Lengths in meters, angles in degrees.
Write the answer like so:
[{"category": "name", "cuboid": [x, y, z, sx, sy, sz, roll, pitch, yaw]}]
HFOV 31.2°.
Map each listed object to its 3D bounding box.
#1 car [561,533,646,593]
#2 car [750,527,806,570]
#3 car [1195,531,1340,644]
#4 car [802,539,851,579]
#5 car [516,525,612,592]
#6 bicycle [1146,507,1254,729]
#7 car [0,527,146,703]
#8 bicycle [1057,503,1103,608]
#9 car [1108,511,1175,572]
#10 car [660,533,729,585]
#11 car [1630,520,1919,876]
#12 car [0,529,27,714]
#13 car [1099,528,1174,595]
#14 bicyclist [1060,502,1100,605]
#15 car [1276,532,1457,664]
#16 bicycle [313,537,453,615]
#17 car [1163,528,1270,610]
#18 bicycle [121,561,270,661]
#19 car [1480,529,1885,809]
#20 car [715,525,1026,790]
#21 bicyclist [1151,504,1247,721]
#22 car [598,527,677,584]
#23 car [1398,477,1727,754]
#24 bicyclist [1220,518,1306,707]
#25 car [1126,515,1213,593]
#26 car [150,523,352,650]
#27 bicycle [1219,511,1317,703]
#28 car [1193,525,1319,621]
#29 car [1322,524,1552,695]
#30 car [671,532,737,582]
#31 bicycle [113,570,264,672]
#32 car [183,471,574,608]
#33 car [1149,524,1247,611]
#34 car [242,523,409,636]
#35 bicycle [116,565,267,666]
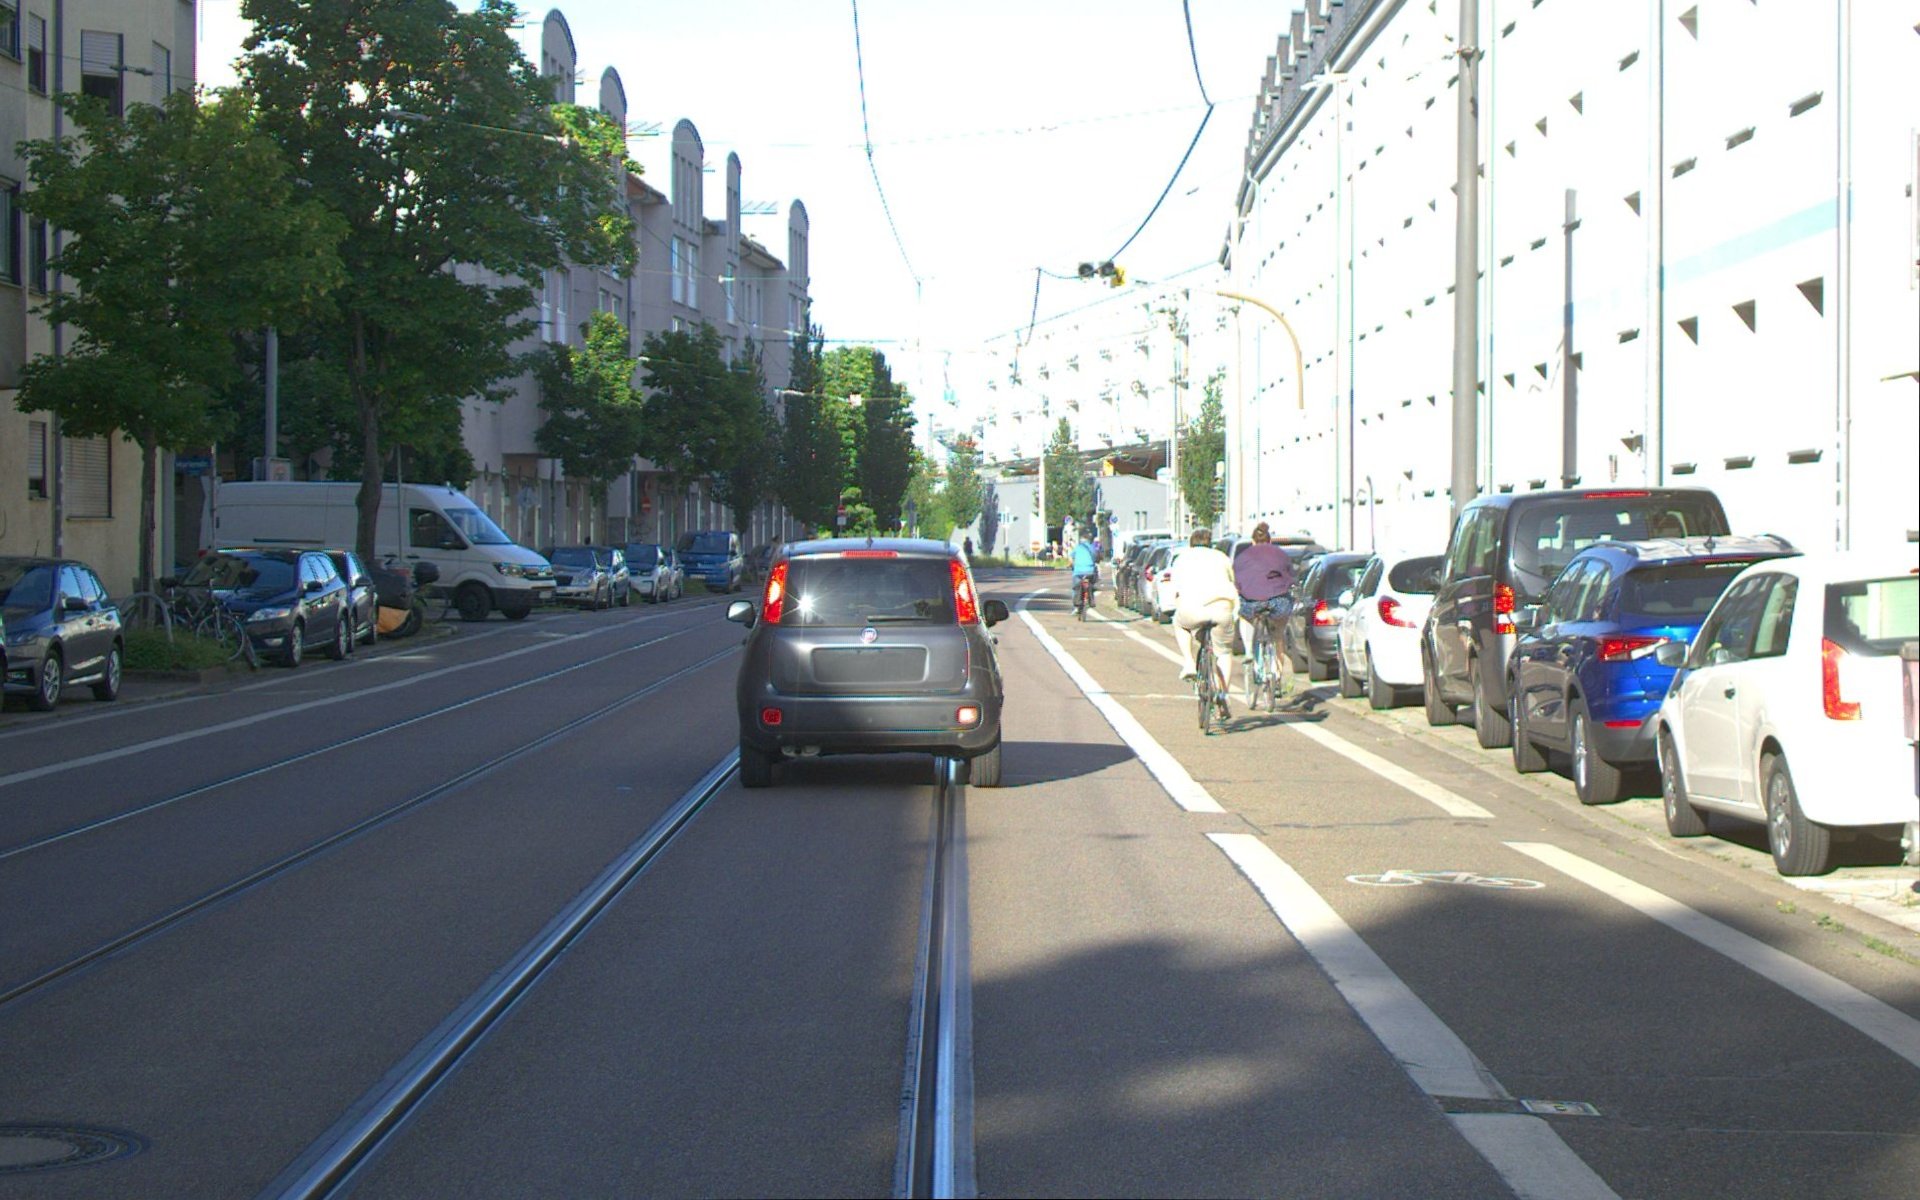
[{"category": "car", "cuboid": [-9.157, -0.966, 88.539, 1.707, 1.491, 3.722, 1, 1, 1]}, {"category": "car", "cuboid": [-6.515, -1.845, 123.276, 1.707, 1.491, 3.722, 1, 1, 1]}, {"category": "car", "cuboid": [4.221, -0.201, 47.637, 1.583, 1.400, 3.377, -3, 1, -1]}, {"category": "car", "cuboid": [-5.224, -1.621, 134.814, 1.707, 1.491, 3.722, 1, 1, 1]}, {"category": "car", "cuboid": [-9.079, -0.972, 79.080, 1.707, 1.491, 3.722, 1, 1, 1]}, {"category": "bicycle", "cuboid": [1.958, 0.120, 28.284, 0.675, 1.741, 2.158, 1, 1, -1]}, {"category": "car", "cuboid": [-9.428, 0.093, 33.937, 1.808, 1.614, 4.064, 1, 1, 0]}, {"category": "bicycle", "cuboid": [2.350, -0.887, 67.567, 0.741, 2.007, 2.812, 1, 1, -1]}, {"category": "car", "cuboid": [4.934, -1.603, 93.912, 1.583, 1.593, 3.377, 1, 1, -1]}, {"category": "car", "cuboid": [-7.891, -1.236, 102.425, 1.707, 1.491, 3.722, 1, 1, 1]}, {"category": "car", "cuboid": [4.502, 0.405, 16.945, 1.655, 1.566, 3.499, 1, 1, 0]}, {"category": "car", "cuboid": [-9.281, 0.202, 28.807, 1.808, 1.614, 4.064, 1, 1, 0]}, {"category": "car", "cuboid": [4.321, -0.970, 84.577, 1.583, 1.593, 3.377, 1, 1, -1]}, {"category": "bicyclist", "cuboid": [2.354, -0.914, 67.496, 0.715, 2.007, 0.832, 1, 1, -1]}, {"category": "car", "cuboid": [4.562, -0.059, 38.936, 1.583, 1.400, 3.377, 1, 1, -1]}, {"category": "bicycle", "cuboid": [-9.854, -0.412, 58.778, 2.275, 1.284, 0.758, 1, 1, -4]}, {"category": "car", "cuboid": [4.566, -0.573, 61.580, 1.583, 1.400, 3.377, 1, 1, -1]}, {"category": "bicycle", "cuboid": [-9.384, 0.128, 42.220, 1.728, 1.192, 0.372, 1, 1, -3]}, {"category": "car", "cuboid": [4.406, 0.354, 21.511, 1.655, 1.566, 3.876, 1, 1, 0]}, {"category": "car", "cuboid": [-0.490, 0.292, 22.409, 1.650, 1.536, 4.234, 1, 1, 3]}, {"category": "bicyclist", "cuboid": [1.959, 0.095, 28.278, 0.699, 1.753, 0.757, 1, 1, -1]}, {"category": "car", "cuboid": [-8.743, -1.223, 93.362, 1.707, 1.491, 3.722, 1, 1, 1]}, {"category": "car", "cuboid": [4.565, 0.059, 26.690, 1.655, 1.937, 4.665, 1, 1, 0]}, {"category": "bicyclist", "cuboid": [2.859, 0.105, 32.467, 0.699, 1.753, 0.757, 1, 1, -1]}, {"category": "car", "cuboid": [4.456, -1.000, 73.565, 1.583, 1.593, 3.377, 1, 1, -1]}, {"category": "car", "cuboid": [-9.150, -0.213, 44.653, 1.835, 1.551, 4.000, 1, 1, -1]}, {"category": "bicycle", "cuboid": [2.891, 0.042, 32.423, 0.675, 1.741, 2.158, 1, 1, -1]}, {"category": "car", "cuboid": [4.544, -0.441, 53.100, 1.583, 1.400, 3.377, 1, 1, -1]}, {"category": "car", "cuboid": [4.392, 0.050, 32.011, 1.655, 1.495, 3.130, 1, 1, 0]}, {"category": "car", "cuboid": [-7.997, -1.361, 107.473, 1.707, 1.491, 3.722, 1, 1, 1]}, {"category": "bicycle", "cuboid": [-9.290, 0.255, 41.412, 1.728, 1.192, 0.372, 1, 1, -3]}, {"category": "car", "cuboid": [-10.876, -1.150, 64.338, 6.906, 2.395, 2.174, 1, 1, 15]}, {"category": "car", "cuboid": [4.544, -0.640, 66.018, 1.583, 1.593, 3.377, 1, 1, -1]}, {"category": "car", "cuboid": [-9.197, -0.325, 50.054, 1.835, 1.551, 3.377, 1, 1, -1]}, {"category": "bicycle", "cuboid": [-9.341, 0.187, 41.806, 1.728, 1.192, 0.372, 1, 1, -3]}]
